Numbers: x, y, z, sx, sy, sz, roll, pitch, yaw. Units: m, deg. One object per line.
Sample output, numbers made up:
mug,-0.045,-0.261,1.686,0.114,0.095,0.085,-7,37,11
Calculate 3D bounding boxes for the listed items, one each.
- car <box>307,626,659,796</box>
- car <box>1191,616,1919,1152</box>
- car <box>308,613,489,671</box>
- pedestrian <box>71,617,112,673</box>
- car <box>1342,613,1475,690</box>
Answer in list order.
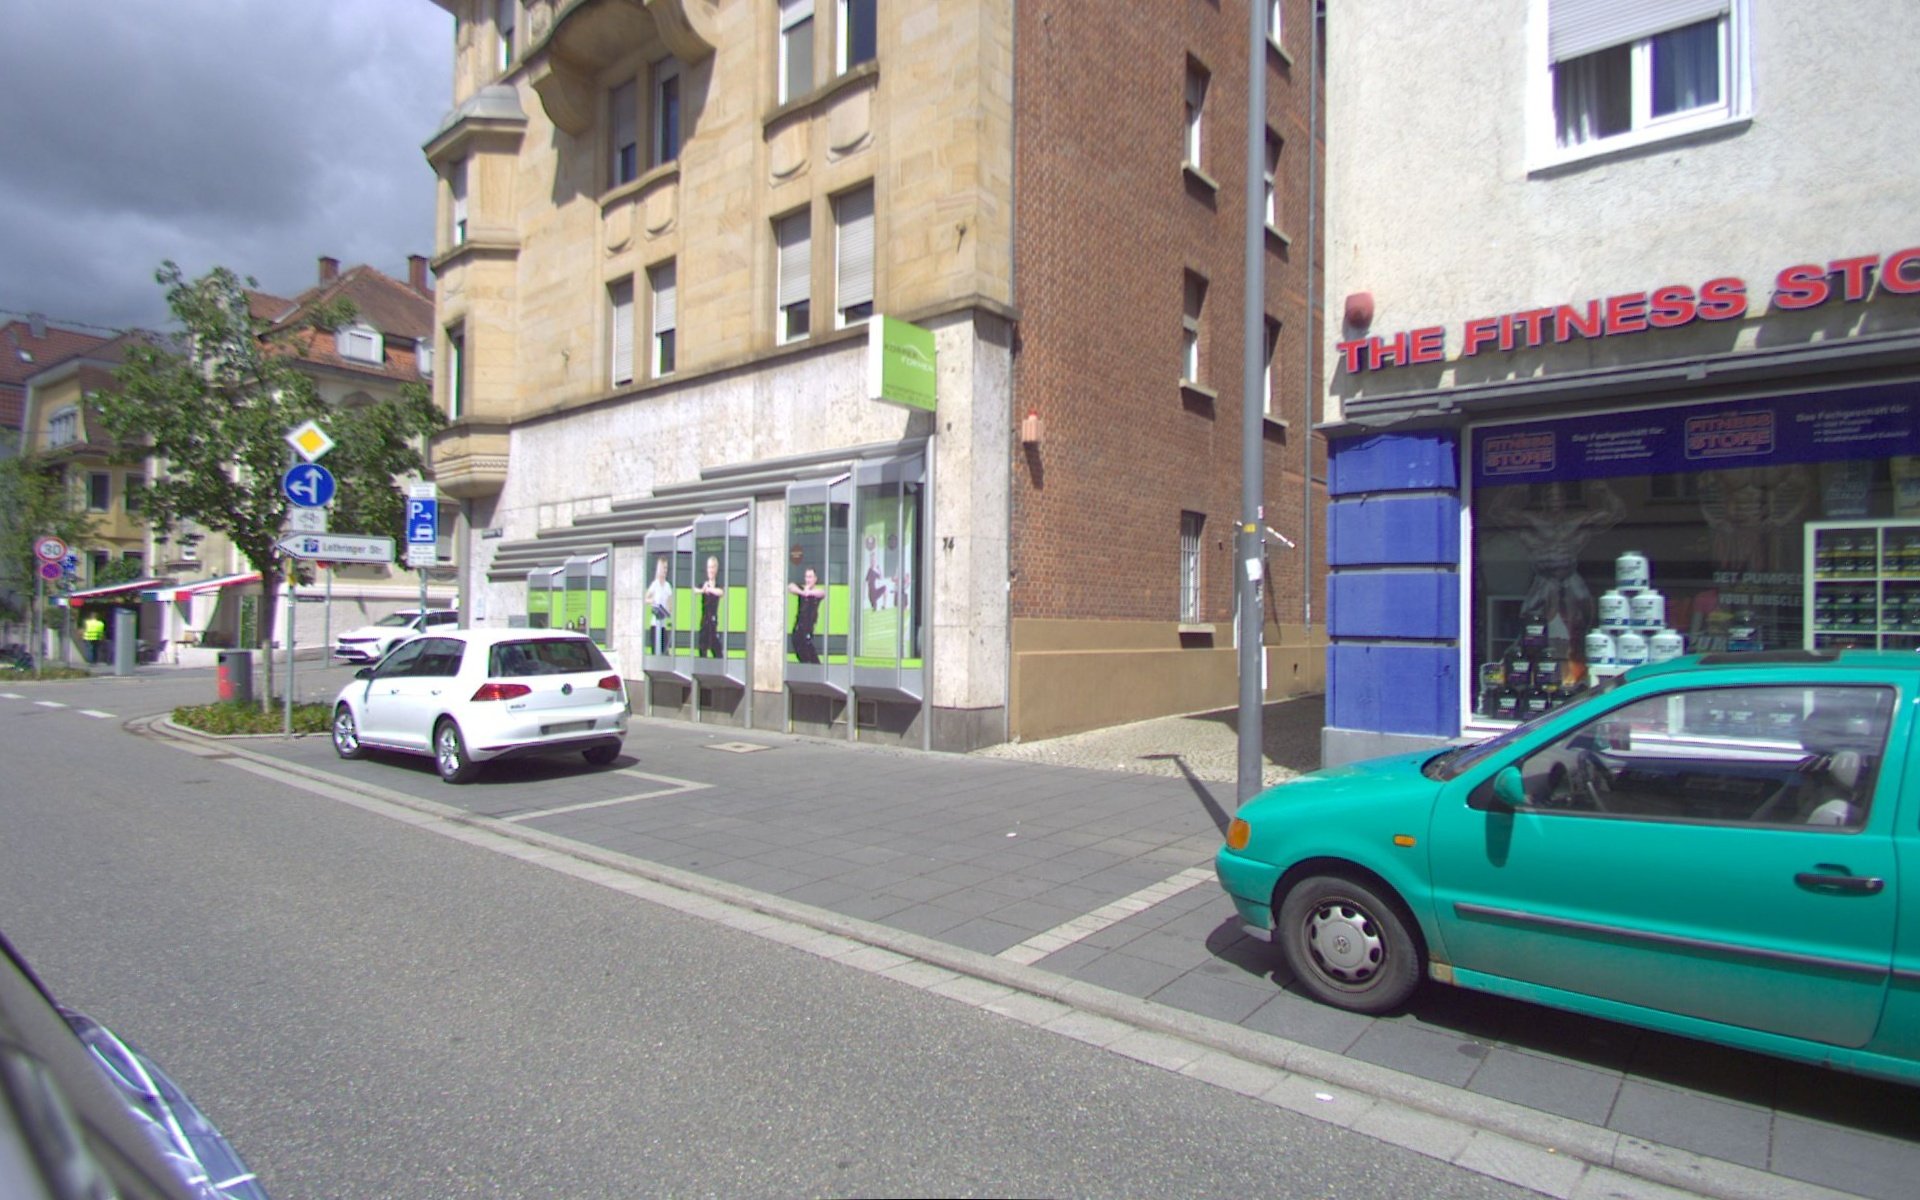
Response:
car,-5.243,1.032,10.933,4.031,1.408,1.828,0,0,38
car,2.861,0.801,3.647,3.668,1.425,1.569,0,0,42
car,-16.083,1.142,29.246,1.985,1.391,4.359,-1,1,20
pedestrian,-27.971,1.441,32.610,0.810,1.770,0.792,0,0,32
car,9.454,0.994,21.162,1.930,1.342,3.955,0,0,33
